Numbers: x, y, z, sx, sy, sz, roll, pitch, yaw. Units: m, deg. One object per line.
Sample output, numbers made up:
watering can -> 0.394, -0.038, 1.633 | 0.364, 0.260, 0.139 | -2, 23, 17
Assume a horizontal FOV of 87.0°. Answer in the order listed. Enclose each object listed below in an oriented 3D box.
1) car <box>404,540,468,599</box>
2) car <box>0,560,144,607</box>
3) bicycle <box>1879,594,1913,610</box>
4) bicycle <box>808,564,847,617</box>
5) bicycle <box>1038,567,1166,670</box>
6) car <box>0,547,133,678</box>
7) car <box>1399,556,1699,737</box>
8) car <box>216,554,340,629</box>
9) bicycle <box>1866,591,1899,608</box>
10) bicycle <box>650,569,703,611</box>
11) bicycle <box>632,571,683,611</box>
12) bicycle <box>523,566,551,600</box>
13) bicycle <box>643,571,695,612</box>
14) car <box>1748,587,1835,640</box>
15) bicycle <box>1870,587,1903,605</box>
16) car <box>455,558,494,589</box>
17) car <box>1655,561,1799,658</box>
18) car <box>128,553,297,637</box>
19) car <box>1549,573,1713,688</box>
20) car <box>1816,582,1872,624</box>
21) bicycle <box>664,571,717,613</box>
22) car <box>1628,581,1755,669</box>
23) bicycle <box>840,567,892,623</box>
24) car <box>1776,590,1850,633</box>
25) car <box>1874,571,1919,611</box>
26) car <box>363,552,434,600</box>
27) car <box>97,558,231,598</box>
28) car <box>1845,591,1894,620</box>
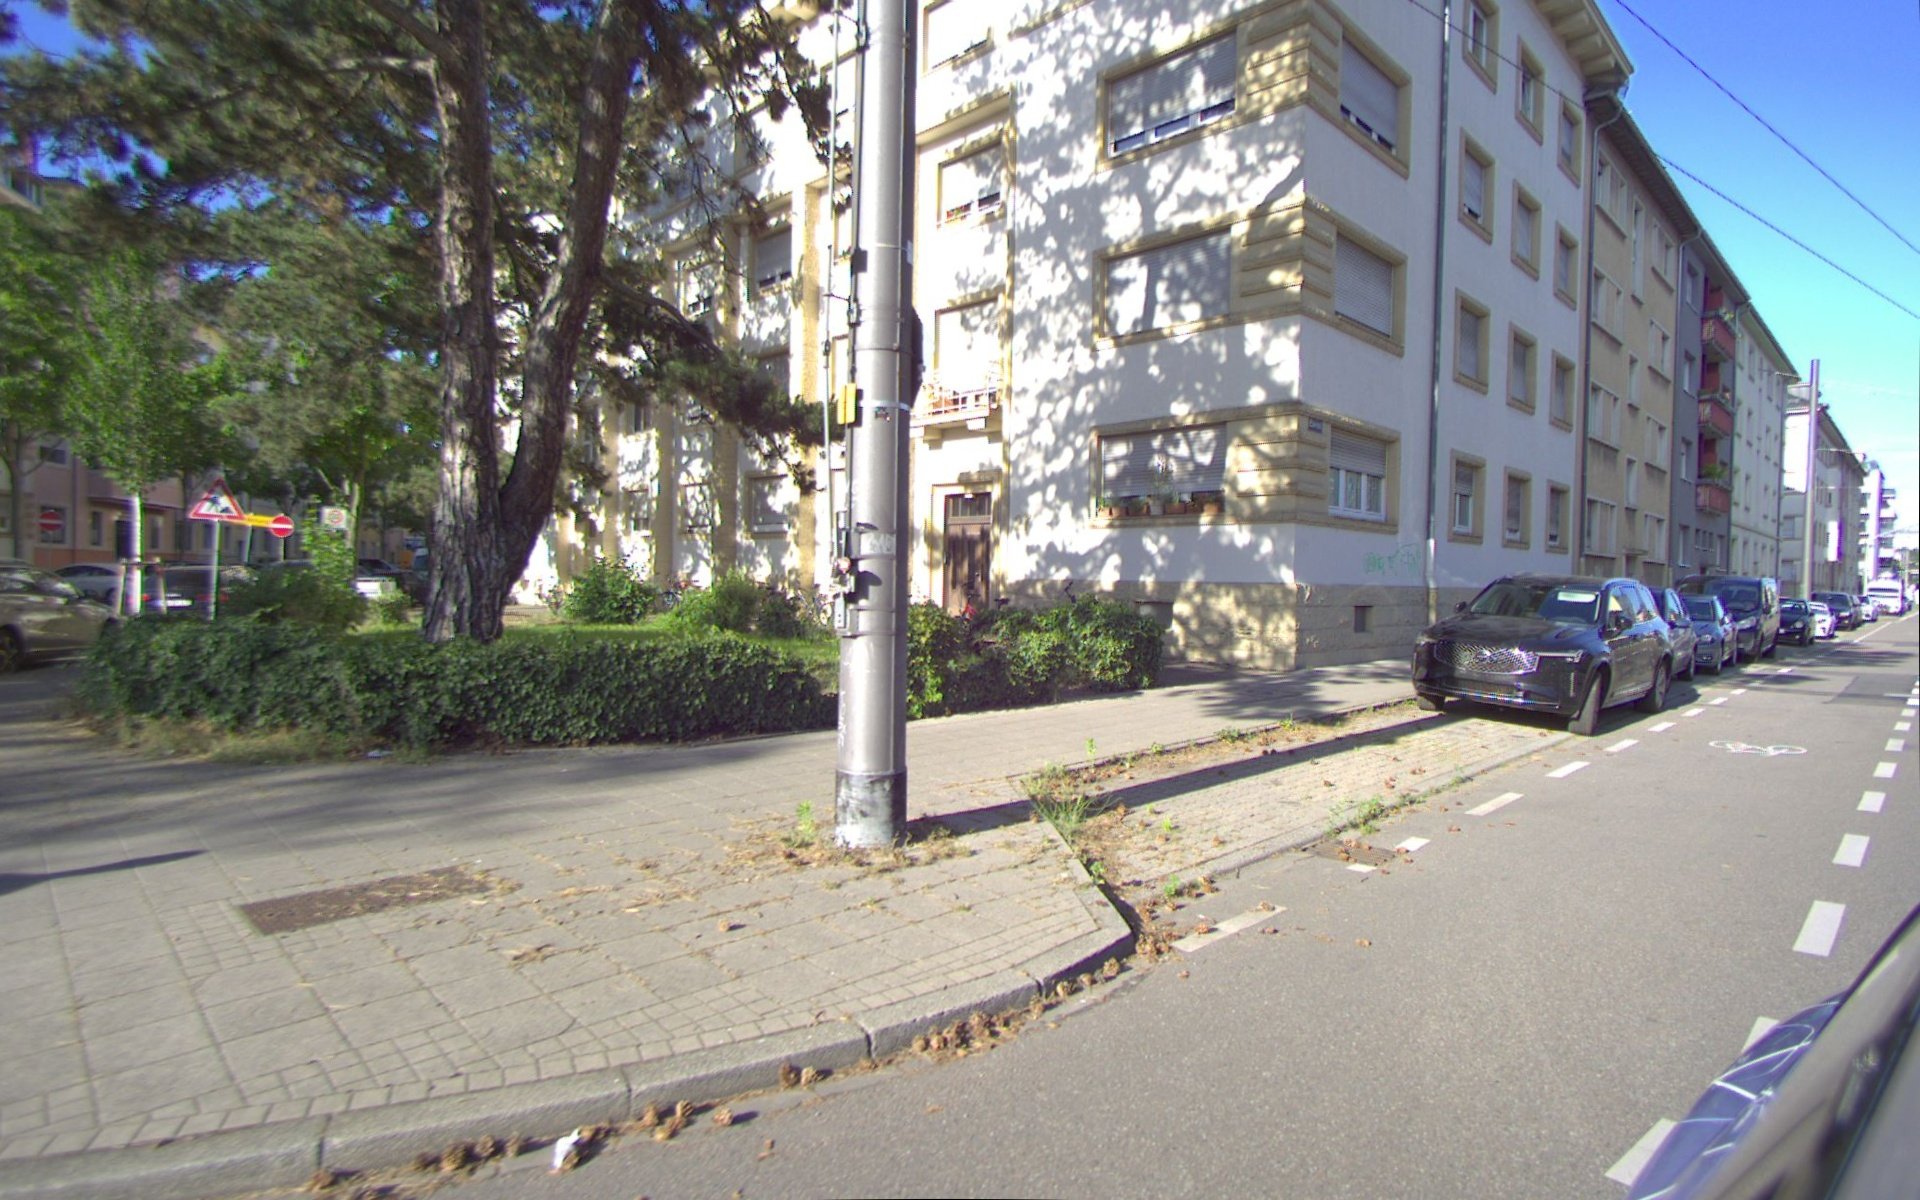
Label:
car -> -24.189, -1.352, 46.912 | 2.082, 2.474, 5.328 | -1, 0, -21
car -> -31.665, -0.581, 35.852 | 3.916, 1.572, 1.821 | -1, -1, -18
bicycle -> 65.162, 0.160, 70.474 | 0.477, 1.101, 2.026 | -1, 0, 3
bicycle -> -3.051, -0.231, 23.228 | 0.383, 1.126, 1.389 | 1, 3, -29
bicycle -> 1.980, 0.223, 14.325 | 0.554, 1.316, 1.833 | 0, 3, -42
car -> -12.531, 0.115, 12.892 | 1.733, 1.519, 4.316 | -3, 3, -20
car -> 7.475, 0.422, 12.601 | 4.852, 1.737, 1.882 | -1, 5, -44
car -> -17.191, -0.227, 25.709 | 1.732, 1.733, 3.920 | 1, 1, -21
bicycle -> 63.279, -0.021, 69.435 | 0.464, 1.100, 1.919 | 1, 1, -2
bicycle -> -7.961, -0.287, 28.458 | 1.362, 1.126, 0.391 | 0, 3, -40
bicycle -> -8.782, -0.257, 29.431 | 1.362, 1.126, 0.391 | 0, 3, -40
bicycle -> -14.637, -0.591, 34.994 | 0.385, 1.125, 1.384 | -1, 4, -44
bicycle -> -8.274, -0.251, 28.832 | 1.362, 1.126, 0.391 | 0, 3, -40
car -> 25.953, 0.368, 31.553 | 3.728, 1.471, 1.637 | -1, 4, -45
bicycle -> 64.295, -0.298, 70.252 | 0.465, 1.100, 1.919 | -2, 3, -2
car -> -28.676, -1.542, 59.811 | 1.762, 1.631, 4.007 | -1, 0, -21
car -> 17.904, 0.143, 23.528 | 1.915, 1.922, 5.053 | 6, 5, 44
car -> -14.950, -0.161, 20.472 | 1.732, 1.487, 3.922 | 1, 2, -21
car -> 11.053, 0.399, 16.564 | 1.594, 1.598, 3.836 | 5, 4, 42
car -> 38.689, 0.104, 44.271 | 1.636, 1.667, 4.306 | 5, 4, 43
bicycle -> -7.394, -0.227, 27.791 | 1.362, 1.126, 0.391 | 0, 3, -40
car -> 14.480, 0.405, 19.945 | 1.510, 1.496, 4.173 | 4, 3, 42
bicycle -> -2.057, -0.124, 21.958 | 0.384, 1.126, 1.386 | 0, 3, -40
car -> 31.189, 0.376, 36.961 | 1.704, 1.290, 4.235 | 7, 5, 44
car -> 68.592, -0.663, 74.014 | 2.153, 2.729, 6.190 | 5, 4, 45
car -> -20.909, -0.858, 37.827 | 1.762, 1.631, 4.007 | -1, 0, -21
car -> -33.060, -0.915, 42.169 | 3.916, 1.572, 2.004 | -1, -1, -18
car -> 49.976, 0.260, 55.591 | 4.307, 1.476, 1.695 | 0, 3, -45
